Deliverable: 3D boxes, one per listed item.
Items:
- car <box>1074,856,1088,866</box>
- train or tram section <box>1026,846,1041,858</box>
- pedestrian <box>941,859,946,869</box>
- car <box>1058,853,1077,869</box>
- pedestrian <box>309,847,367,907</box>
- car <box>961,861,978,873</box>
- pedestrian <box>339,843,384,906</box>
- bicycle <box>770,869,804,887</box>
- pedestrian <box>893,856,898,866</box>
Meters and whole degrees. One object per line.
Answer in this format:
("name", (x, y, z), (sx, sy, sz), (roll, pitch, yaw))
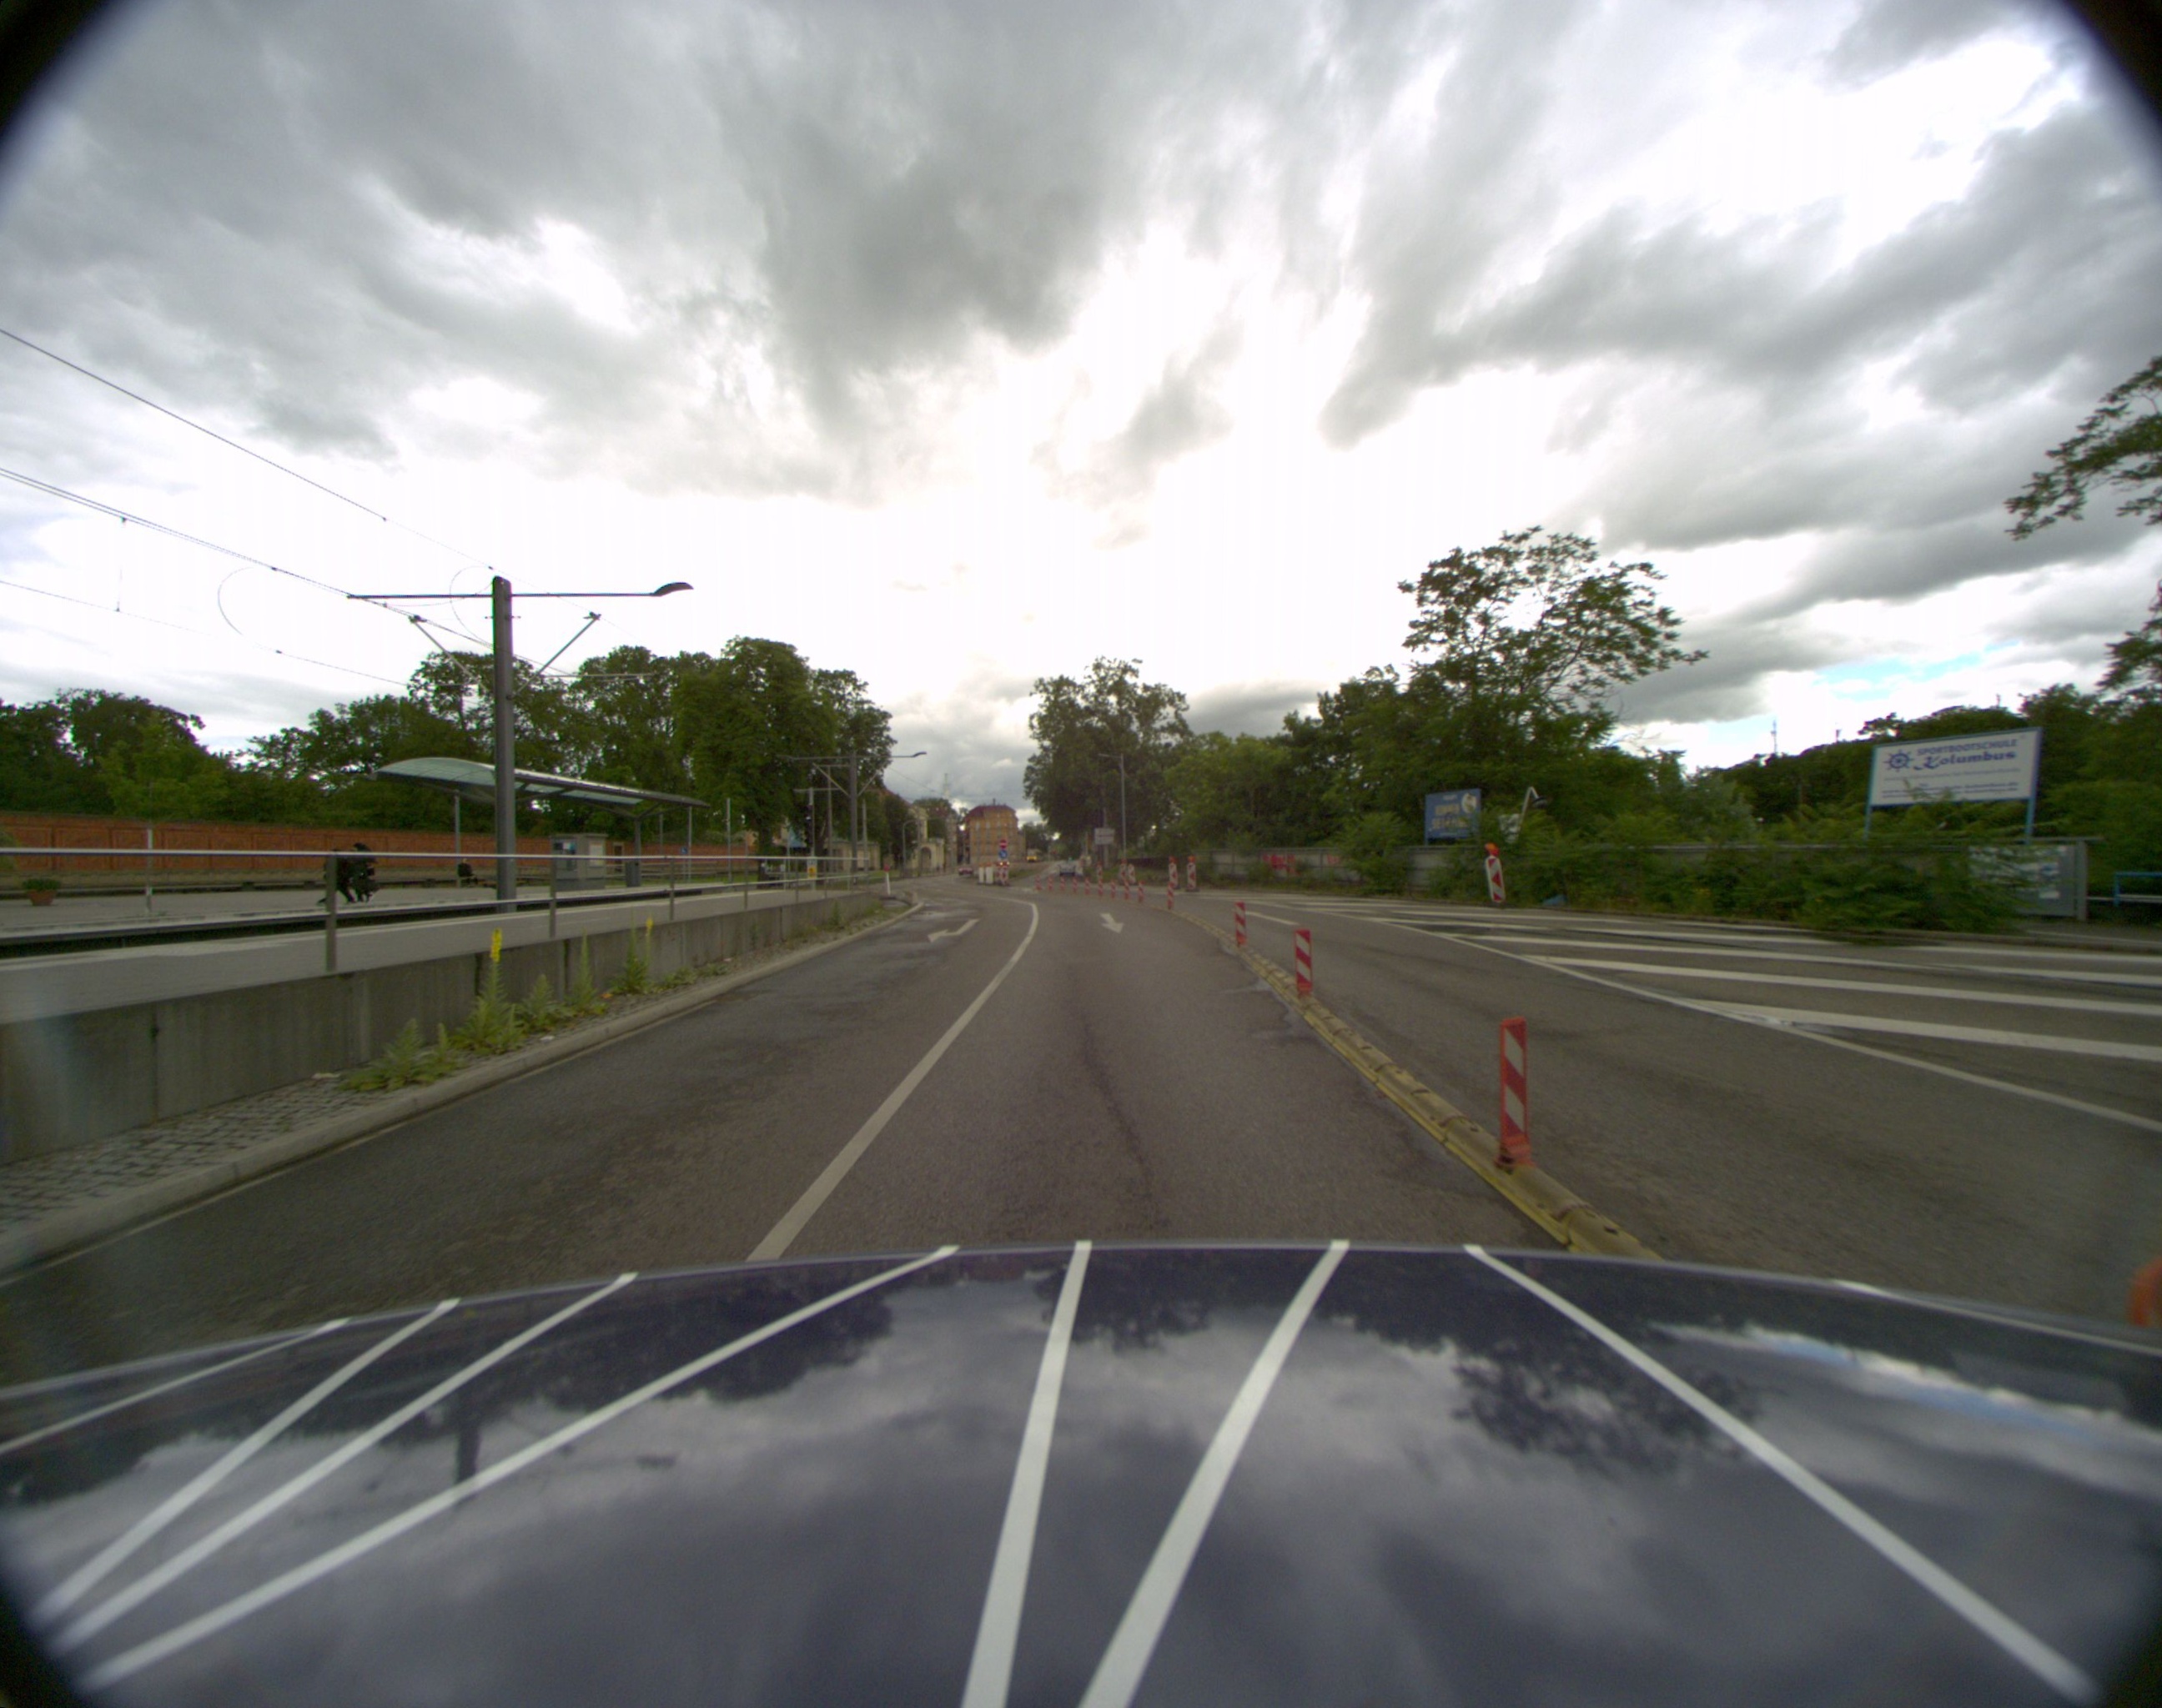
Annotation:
("car", (-0.040, 1.102, 112.541), (1.699, 1.452, 3.912), (-1, -1, -4))
("train or tram section", (-13.191, -0.617, 212.957), (3.740, 3.346, 17.550), (0, 1, -2))
("pedestrian", (-23.945, 1.810, 132.756), (0.672, 1.757, 0.936), (-1, 1, -1))
("car", (-1.617, 0.774, 89.013), (1.869, 1.772, 4.746), (-2, 0, -5))
("pedestrian", (-20.325, 0.615, 20.800), (0.741, 1.591, 0.772), (-3, 1, 8))
("car", (-14.512, 1.640, 99.191), (1.681, 1.433, 4.119), (-3, 0, -1))
("pedestrian", (-19.526, 0.541, 20.623), (0.487, 1.651, 0.628), (-3, 1, 8))
("bicycle", (-20.036, 1.638, 51.724), (1.996, 1.151, 0.741), (-1, 0, 4))
("pedestrian", (-33.041, 1.292, 135.276), (0.596, 1.782, 0.808), (-1, 1, -1))
